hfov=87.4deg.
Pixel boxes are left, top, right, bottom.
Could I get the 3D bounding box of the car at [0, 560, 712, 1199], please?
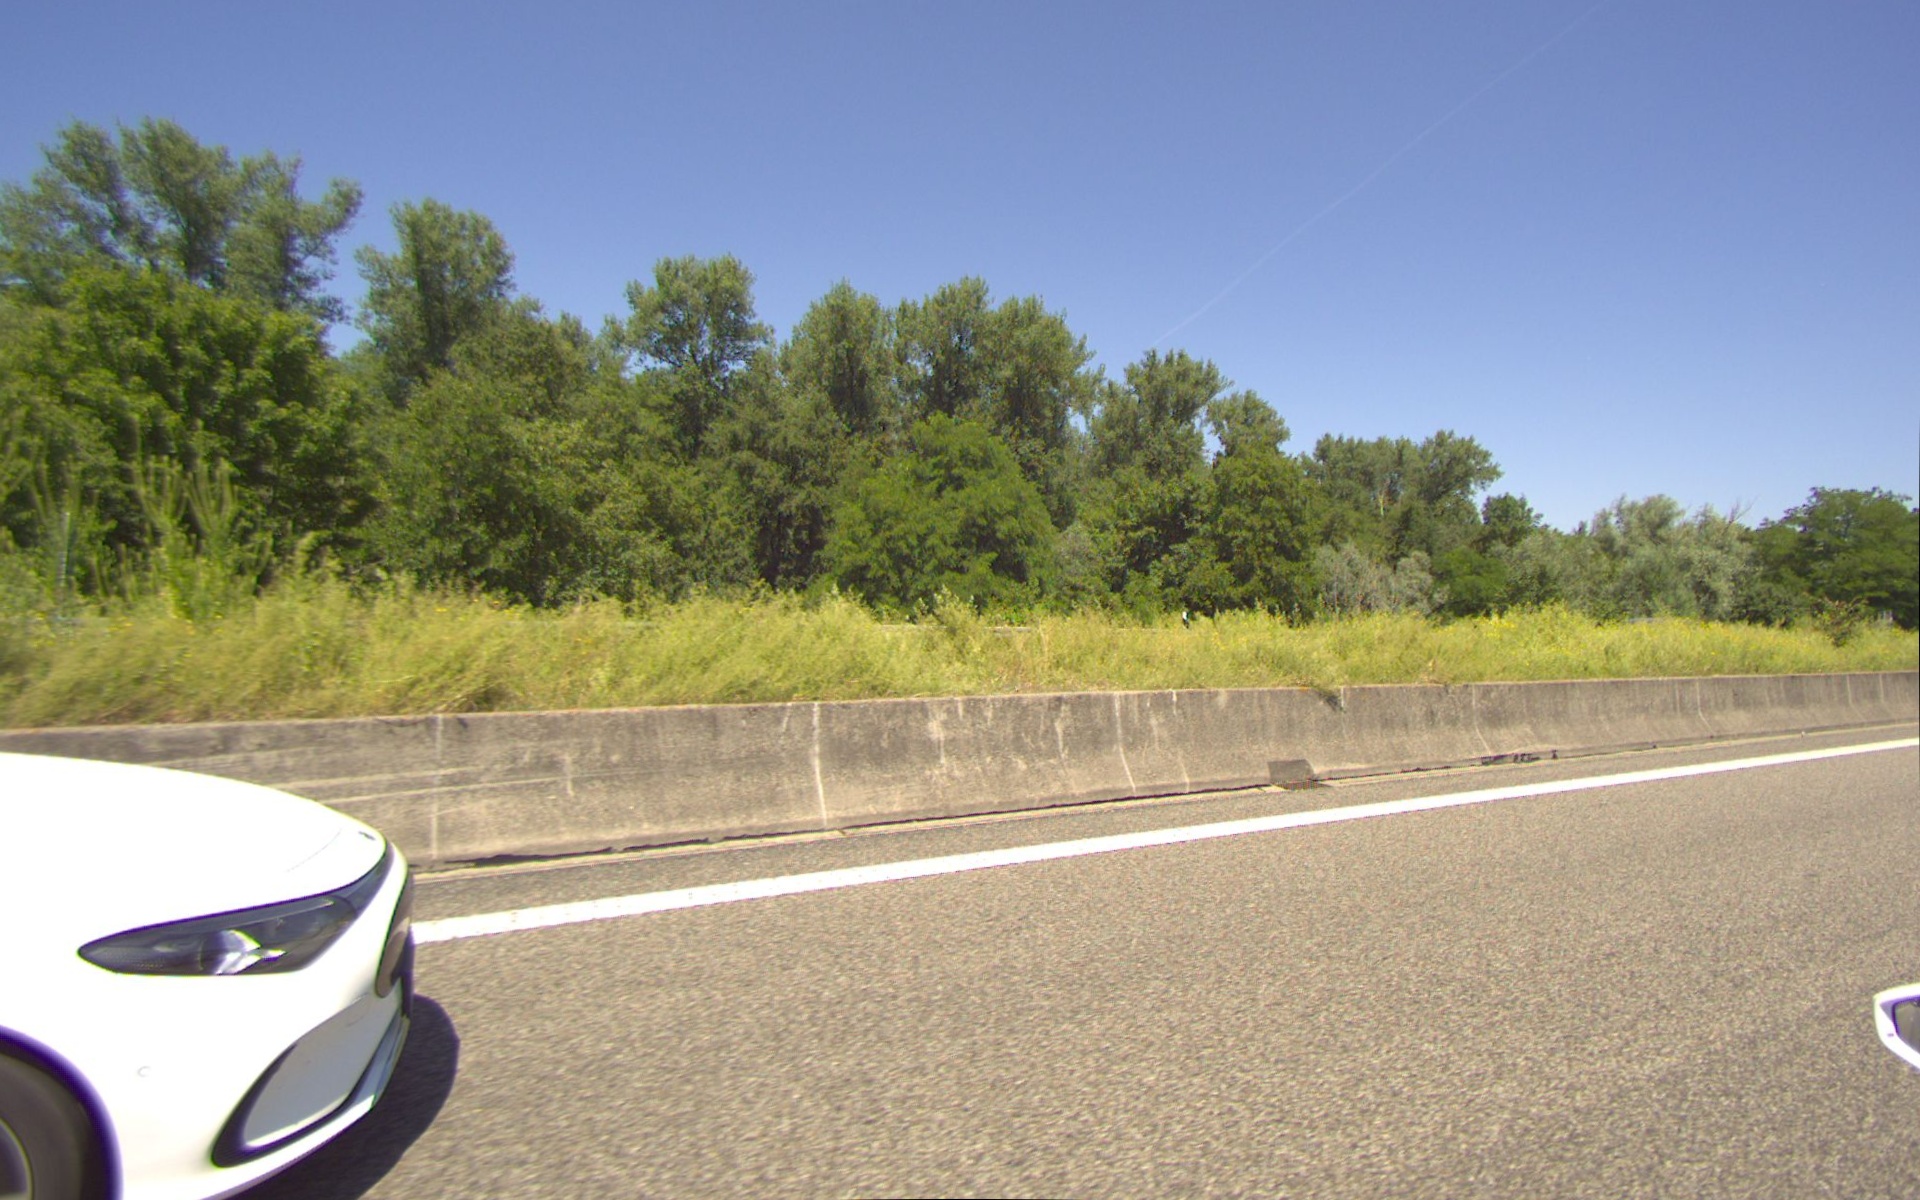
[{"bbox_3d":[-3.214,0.664,1.958,5.047,1.467,1.759,1,-1,-30],"label":"car"}]
